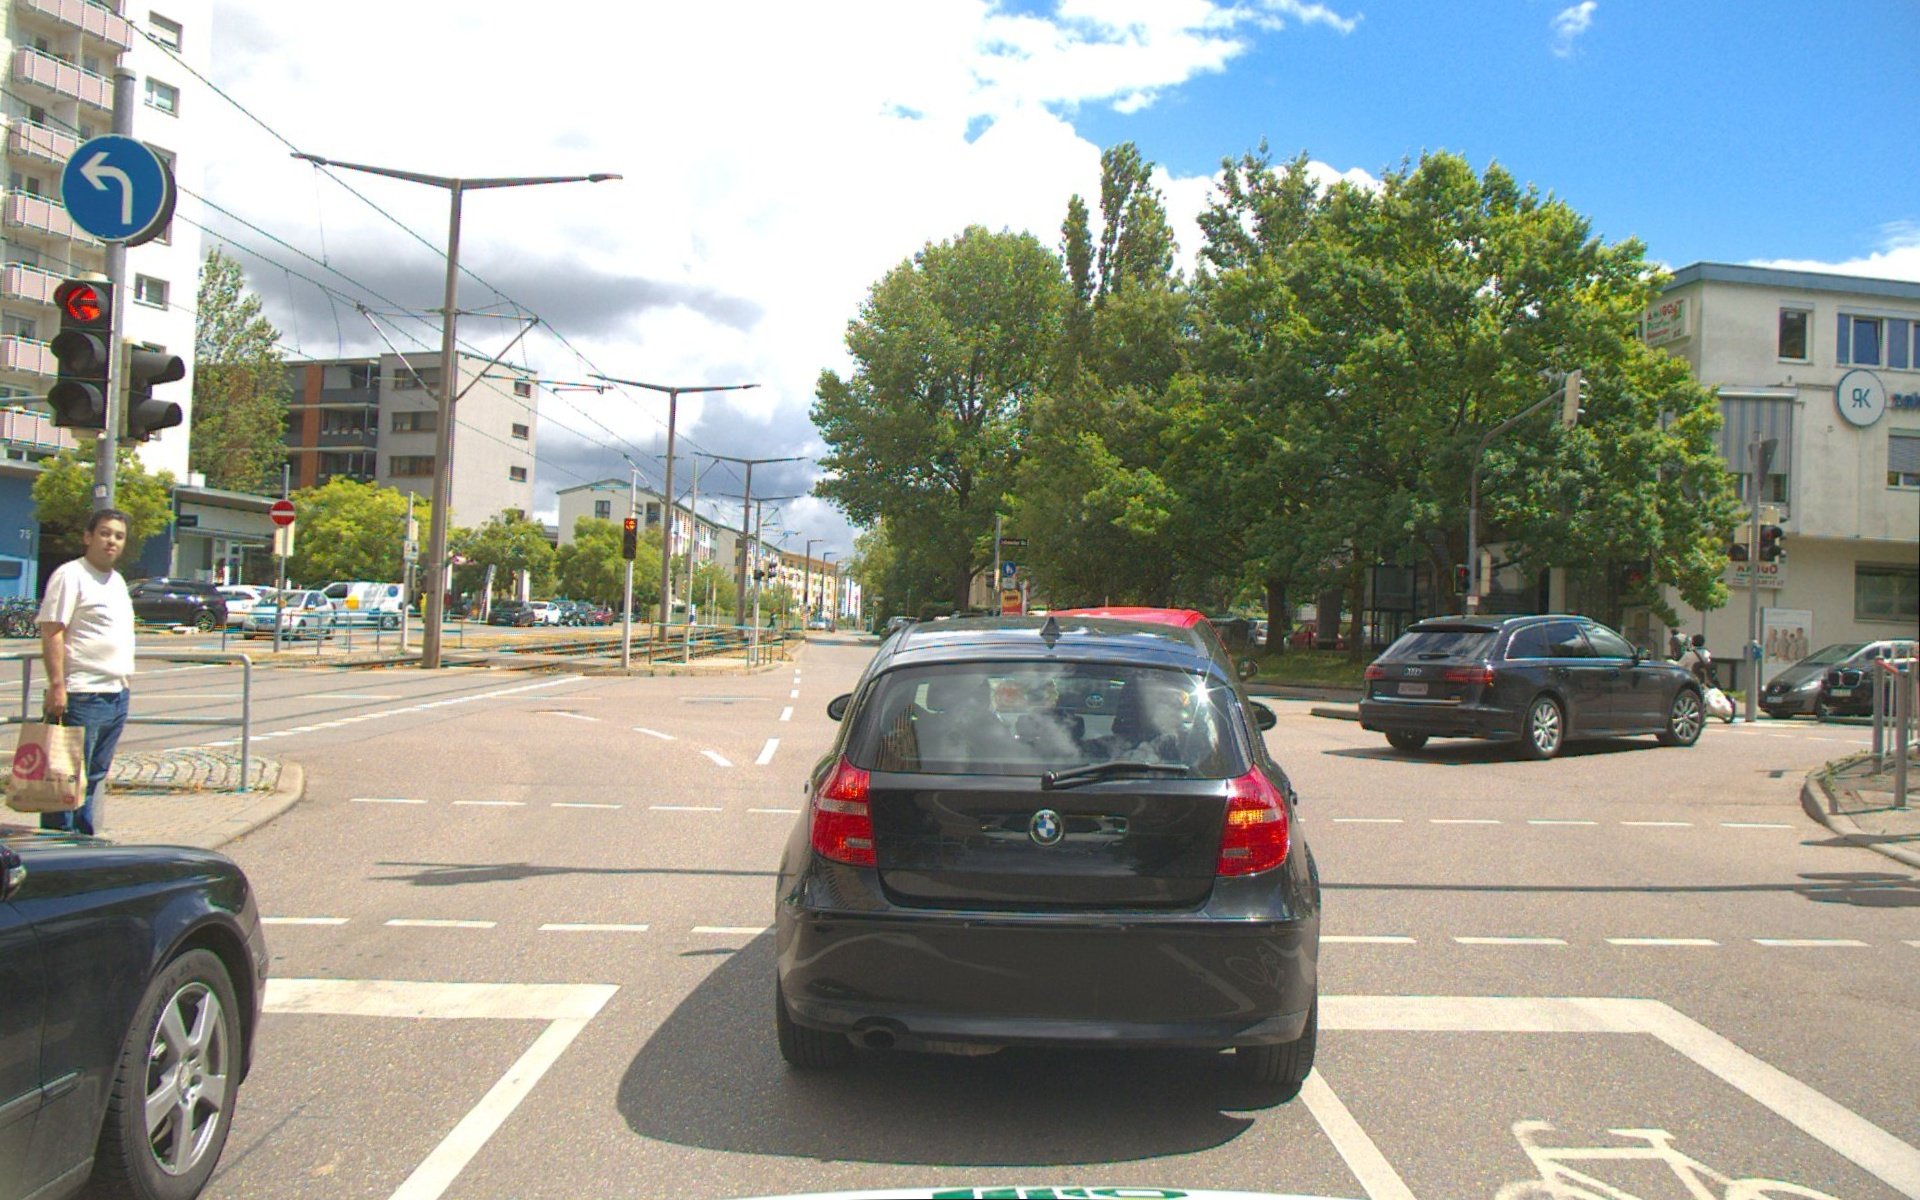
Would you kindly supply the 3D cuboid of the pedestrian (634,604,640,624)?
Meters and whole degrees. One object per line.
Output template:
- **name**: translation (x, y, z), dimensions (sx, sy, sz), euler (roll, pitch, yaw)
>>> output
- **pedestrian**: translation (-26.669, 1.166, 136.605), dimensions (0.444, 1.665, 0.480), euler (1, 0, -3)

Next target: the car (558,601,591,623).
- **car**: translation (-26.005, 0.803, 111.753), dimensions (1.728, 1.419, 3.994), euler (1, 0, -7)

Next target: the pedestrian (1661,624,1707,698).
- **pedestrian**: translation (16.938, 1.406, 38.689), dimensions (0.752, 1.672, 0.908), euler (1, 0, 10)

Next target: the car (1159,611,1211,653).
- **car**: translation (10.410, 1.473, 76.827), dimensions (1.598, 1.842, 4.029), euler (1, 0, -4)

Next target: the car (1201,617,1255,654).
- **car**: translation (12.572, 1.657, 77.805), dimensions (1.598, 1.600, 4.029), euler (1, 0, -4)

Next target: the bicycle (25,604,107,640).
- **bicycle**: translation (-24.763, 0.600, 45.832), dimensions (1.909, 0.951, 0.494), euler (1, -1, -7)

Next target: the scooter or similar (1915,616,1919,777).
- **scooter or similar**: translation (8.400, 0.794, 13.125), dimensions (1.315, 1.299, 0.462), euler (1, 1, 6)

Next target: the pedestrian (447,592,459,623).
- **pedestrian**: translation (-28.281, 0.418, 92.258), dimensions (0.537, 1.746, 0.404), euler (1, 0, -11)

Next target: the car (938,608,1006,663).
- **car**: translation (0.370, 1.150, 54.208), dimensions (2.108, 1.713, 3.999), euler (1, -1, -1)

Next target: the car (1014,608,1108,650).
- **car**: translation (4.637, 1.330, 75.776), dimensions (3.933, 1.855, 1.766), euler (1, 0, -23)

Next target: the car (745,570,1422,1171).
- **car**: translation (0.301, 0.693, 6.269), dimensions (1.717, 1.513, 3.999), euler (1, 0, -1)

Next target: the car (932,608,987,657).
- **car**: translation (-0.044, 1.206, 61.649), dimensions (1.953, 1.713, 3.999), euler (1, -1, -1)

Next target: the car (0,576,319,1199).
- **car**: translation (-2.600, 0.681, 2.245), dimensions (1.693, 1.487, 4.543), euler (1, 0, -1)

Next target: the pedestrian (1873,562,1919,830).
- **pedestrian**: translation (6.629, 0.612, 10.838), dimensions (0.932, 1.703, 0.871), euler (0, 0, 14)

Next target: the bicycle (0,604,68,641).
- **bicycle**: translation (-24.712, 0.591, 43.713), dimensions (1.909, 0.951, 0.494), euler (1, -1, -7)

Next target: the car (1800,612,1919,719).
- **car**: translation (17.177, 1.128, 28.495), dimensions (4.472, 1.747, 1.997), euler (1, 0, -8)

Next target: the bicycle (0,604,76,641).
- **bicycle**: translation (-24.756, 0.593, 44.188), dimensions (1.909, 0.951, 0.494), euler (1, -1, -7)

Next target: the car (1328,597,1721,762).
- **car**: translation (6.253, 0.803, 18.099), dimensions (4.474, 1.581, 1.973), euler (1, -1, -38)

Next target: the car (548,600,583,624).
- **car**: translation (-25.511, 0.765, 107.140), dimensions (1.728, 1.419, 3.994), euler (1, 0, -7)

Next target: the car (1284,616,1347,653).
- **car**: translation (17.067, 1.643, 79.609), dimensions (1.698, 1.623, 3.993), euler (1, 0, -8)

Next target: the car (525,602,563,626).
- **car**: translation (-25.306, 0.830, 100.615), dimensions (1.728, 1.419, 3.994), euler (1, 0, -7)

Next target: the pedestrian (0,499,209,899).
- **pedestrian**: translation (-4.245, 0.457, 8.021), dimensions (0.851, 1.839, 0.741), euler (1, 0, -5)

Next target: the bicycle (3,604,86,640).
- **bicycle**: translation (-24.770, 0.595, 44.760), dimensions (1.909, 0.951, 0.494), euler (1, -1, -7)

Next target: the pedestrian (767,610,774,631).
- **pedestrian**: translation (-14.998, 1.608, 130.694), dimensions (0.469, 1.665, 0.454), euler (1, 0, -2)

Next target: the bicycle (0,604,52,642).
- **bicycle**: translation (-24.600, 0.589, 42.733), dimensions (1.909, 0.951, 0.494), euler (1, -1, -7)

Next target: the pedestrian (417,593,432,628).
- **pedestrian**: translation (-26.341, 0.514, 81.362), dimensions (0.537, 1.746, 0.667), euler (1, 0, -10)

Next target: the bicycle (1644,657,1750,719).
- **bicycle**: translation (11.292, 1.329, 25.405), dimensions (0.775, 0.833, 1.807), euler (2, 0, -1)

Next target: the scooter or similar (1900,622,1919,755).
- **scooter or similar**: translation (9.209, 0.821, 14.944), dimensions (1.338, 1.176, 0.539), euler (3, 0, -26)

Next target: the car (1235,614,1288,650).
- **car**: translation (14.394, 1.507, 79.126), dimensions (1.598, 1.623, 3.997), euler (1, 0, -4)

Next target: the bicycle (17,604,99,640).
- **bicycle**: translation (-24.725, 0.599, 45.341), dimensions (1.909, 0.951, 0.494), euler (1, -1, -7)

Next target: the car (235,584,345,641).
- **car**: translation (-21.334, 0.378, 52.821), dimensions (1.897, 1.722, 3.872), euler (1, 0, -1)

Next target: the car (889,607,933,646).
- **car**: translation (-2.257, 1.210, 77.067), dimensions (1.953, 1.713, 3.999), euler (1, 0, -1)

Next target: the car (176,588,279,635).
- **car**: translation (-26.638, 0.406, 60.073), dimensions (4.144, 1.597, 1.949), euler (1, 0, 43)

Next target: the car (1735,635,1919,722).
- **car**: translation (17.700, 1.537, 32.758), dimensions (3.838, 1.583, 1.994), euler (1, 0, -12)

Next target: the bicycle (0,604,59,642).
- **bicycle**: translation (-24.666, 0.590, 43.208), dimensions (1.909, 0.951, 0.494), euler (1, -1, -7)

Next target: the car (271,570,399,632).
- **car**: translation (-27.094, 0.023, 71.553), dimensions (2.810, 2.522, 6.614), euler (1, 0, -44)

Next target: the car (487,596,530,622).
- **car**: translation (-25.378, 0.491, 93.057), dimensions (1.728, 1.419, 3.994), euler (1, 0, -7)

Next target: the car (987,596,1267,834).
- **car**: translation (1.345, 0.731, 12.196), dimensions (1.509, 1.466, 3.198), euler (1, 0, 15)

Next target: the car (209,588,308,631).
- **car**: translation (-26.831, 0.360, 63.213), dimensions (4.144, 1.564, 1.949), euler (1, 0, 43)

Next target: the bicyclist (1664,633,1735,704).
- **bicyclist**: translation (11.301, 1.043, 25.289), dimensions (0.775, 1.040, 0.636), euler (2, 0, -1)
